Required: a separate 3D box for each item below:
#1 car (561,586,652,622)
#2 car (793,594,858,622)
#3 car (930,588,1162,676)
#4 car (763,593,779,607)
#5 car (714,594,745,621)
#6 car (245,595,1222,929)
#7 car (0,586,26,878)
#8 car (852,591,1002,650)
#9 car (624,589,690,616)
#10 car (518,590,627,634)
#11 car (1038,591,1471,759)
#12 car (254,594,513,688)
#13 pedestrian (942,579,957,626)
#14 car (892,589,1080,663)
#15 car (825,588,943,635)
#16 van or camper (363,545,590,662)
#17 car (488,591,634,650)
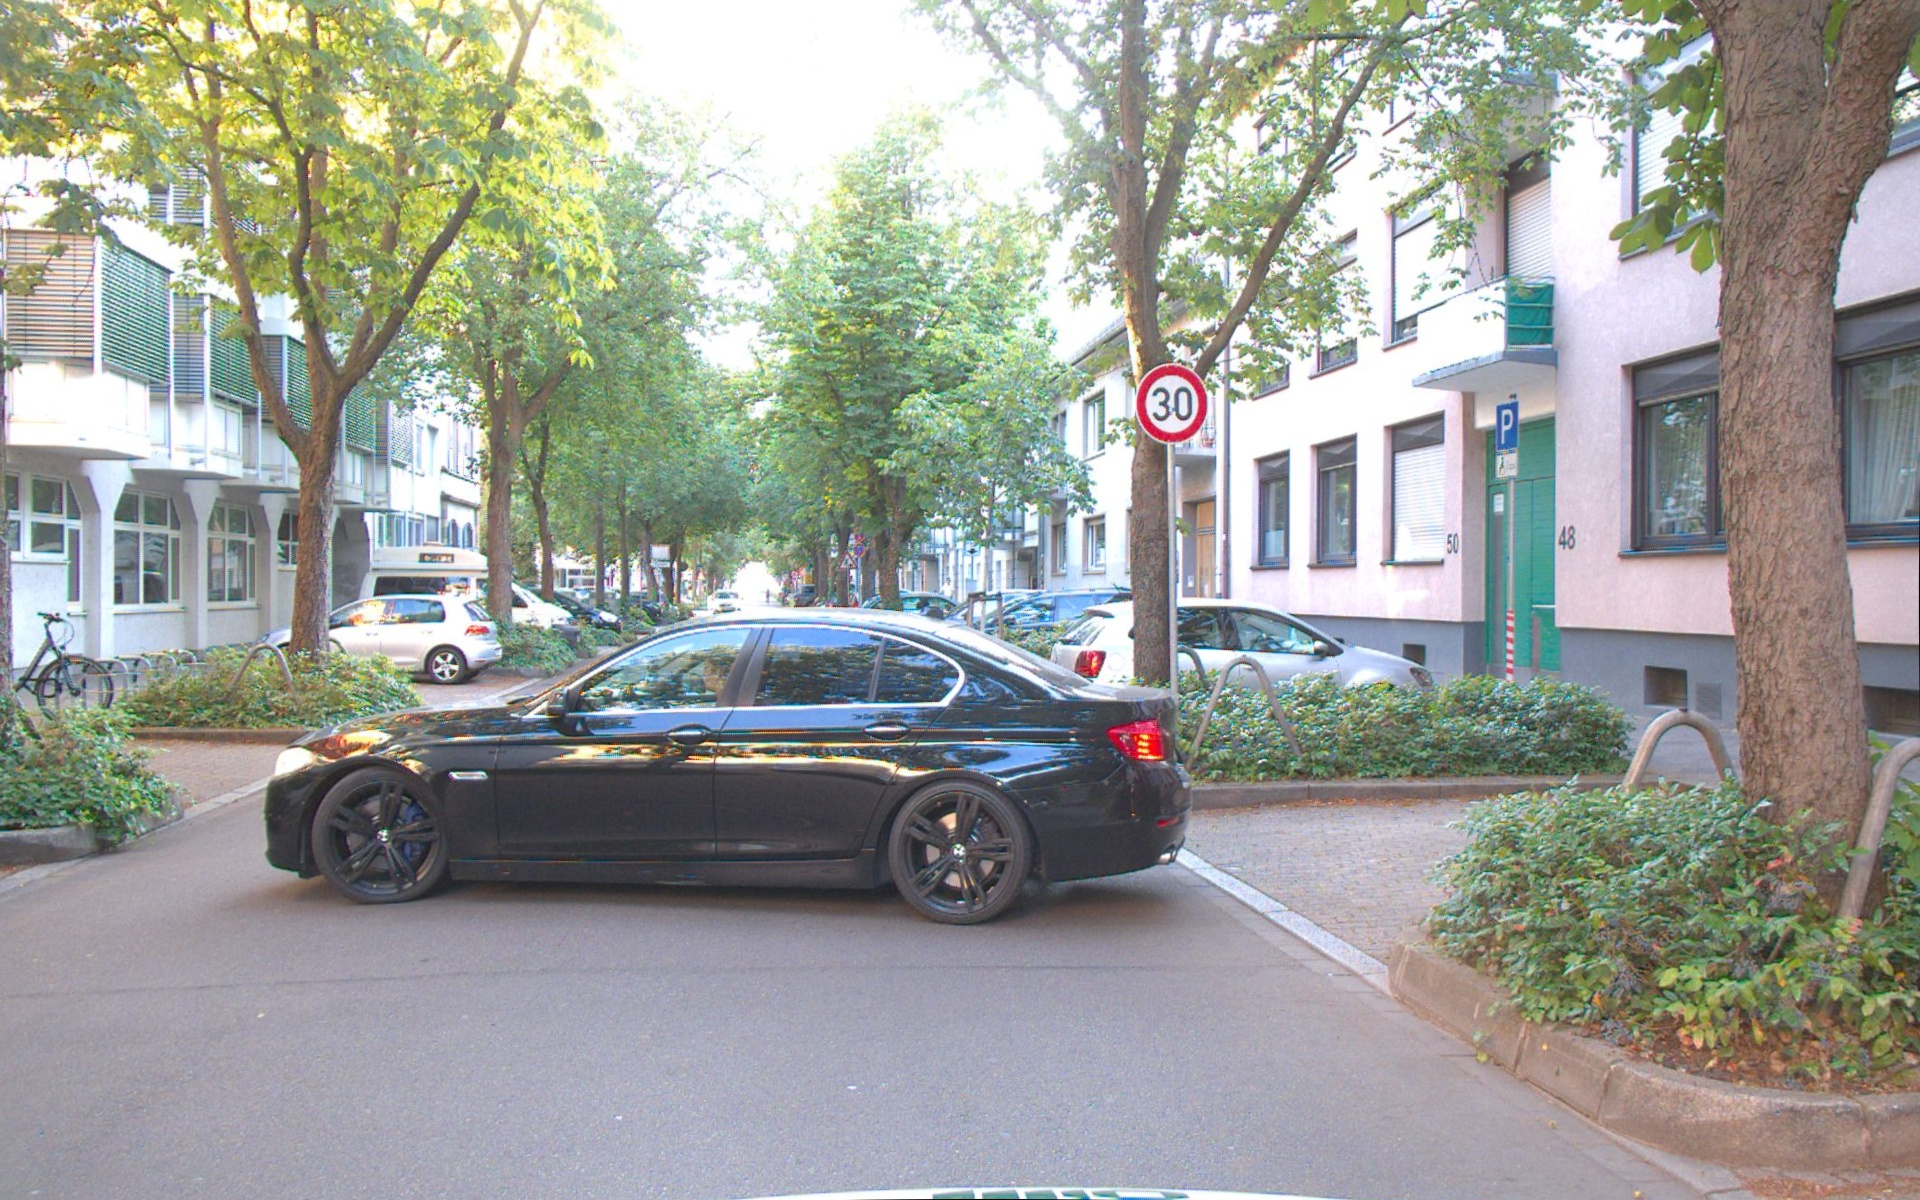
[{"bbox_3d":[-16.170,0.170,75.890,3.891,1.647,1.783,0,0,-6],"label":"car"},{"bbox_3d":[-8.188,0.484,100.638,3.891,1.713,1.783,0,0,-6],"label":"car"},{"bbox_3d":[1.501,0.545,29.694,3.894,1.502,1.781,0,0,-9],"label":"car"},{"bbox_3d":[-21.422,-0.053,187.355,1.787,1.557,3.995,-1,0,-6],"label":"car"},{"bbox_3d":[-14.201,0.459,102.034,1.745,1.589,4.162,0,0,-6],"label":"car"},{"bbox_3d":[-1.029,0.731,8.605,4.644,1.506,1.801,0,0,6],"label":"car"},{"bbox_3d":[-7.112,0.708,7.862,4.272,1.544,1.782,0,0,-7],"label":"car"},{"bbox_3d":[-0.922,0.545,44.933,3.893,1.554,1.782,0,0,-8],"label":"car"},{"bbox_3d":[-18.700,0.150,102.246,3.891,1.647,1.783,0,0,-6],"label":"car"},{"bbox_3d":[-15.028,0.449,64.265,3.891,1.647,1.783,0,0,-6],"label":"car"},{"bbox_3d":[2.799,0.672,16.103,3.836,1.502,1.661,0,0,-9],"label":"car"},{"bbox_3d":[-9.874,0.680,28.572,3.892,1.544,1.783,0,0,-6],"label":"car"},{"bbox_3d":[-0.469,0.115,72.336,0.577,2.049,0.669,1,0,-6],"label":"pedestrian"},{"bbox_3d":[0.531,0.535,36.145,3.893,1.554,1.782,0,0,-8],"label":"car"},{"bbox_3d":[-2.644,0.375,56.772,3.894,1.554,1.782,0,0,-9],"label":"car"},{"bbox_3d":[-10.685,0.061,36.875,4.575,2.521,1.997,0,0,-7],"label":"van or camper"},{"bbox_3d":[-11.505,0.571,47.852,3.892,1.647,1.783,0,0,-6],"label":"car"}]
